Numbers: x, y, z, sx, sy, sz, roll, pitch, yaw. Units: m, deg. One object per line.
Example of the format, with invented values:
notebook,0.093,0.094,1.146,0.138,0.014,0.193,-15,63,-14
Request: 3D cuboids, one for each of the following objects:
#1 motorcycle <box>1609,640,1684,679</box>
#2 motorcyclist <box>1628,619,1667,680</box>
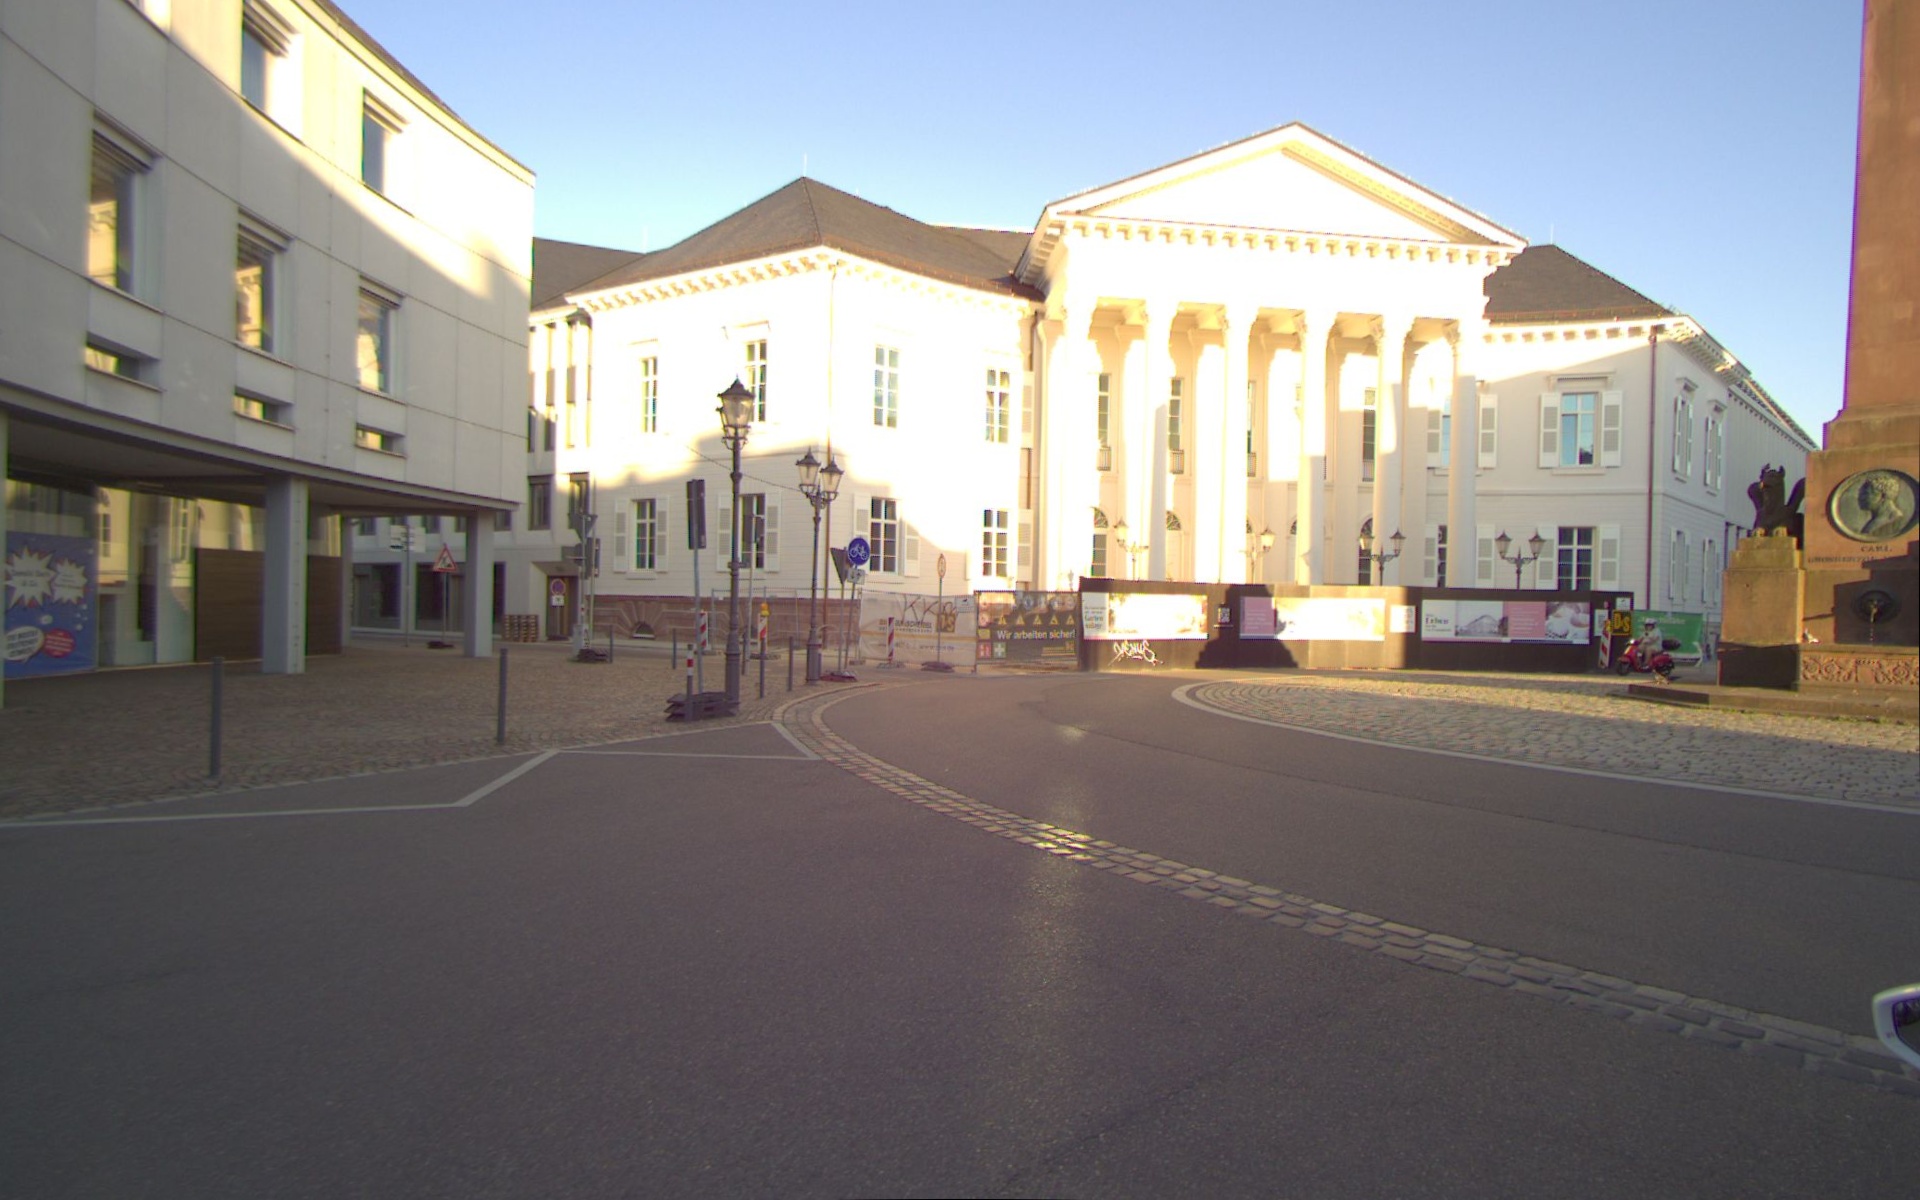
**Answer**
motorcycle,19.525,1.701,28.590,1.720,1.045,0.602,1,0,1
motorcyclist,19.547,1.401,28.583,0.678,1.674,0.602,1,0,1
